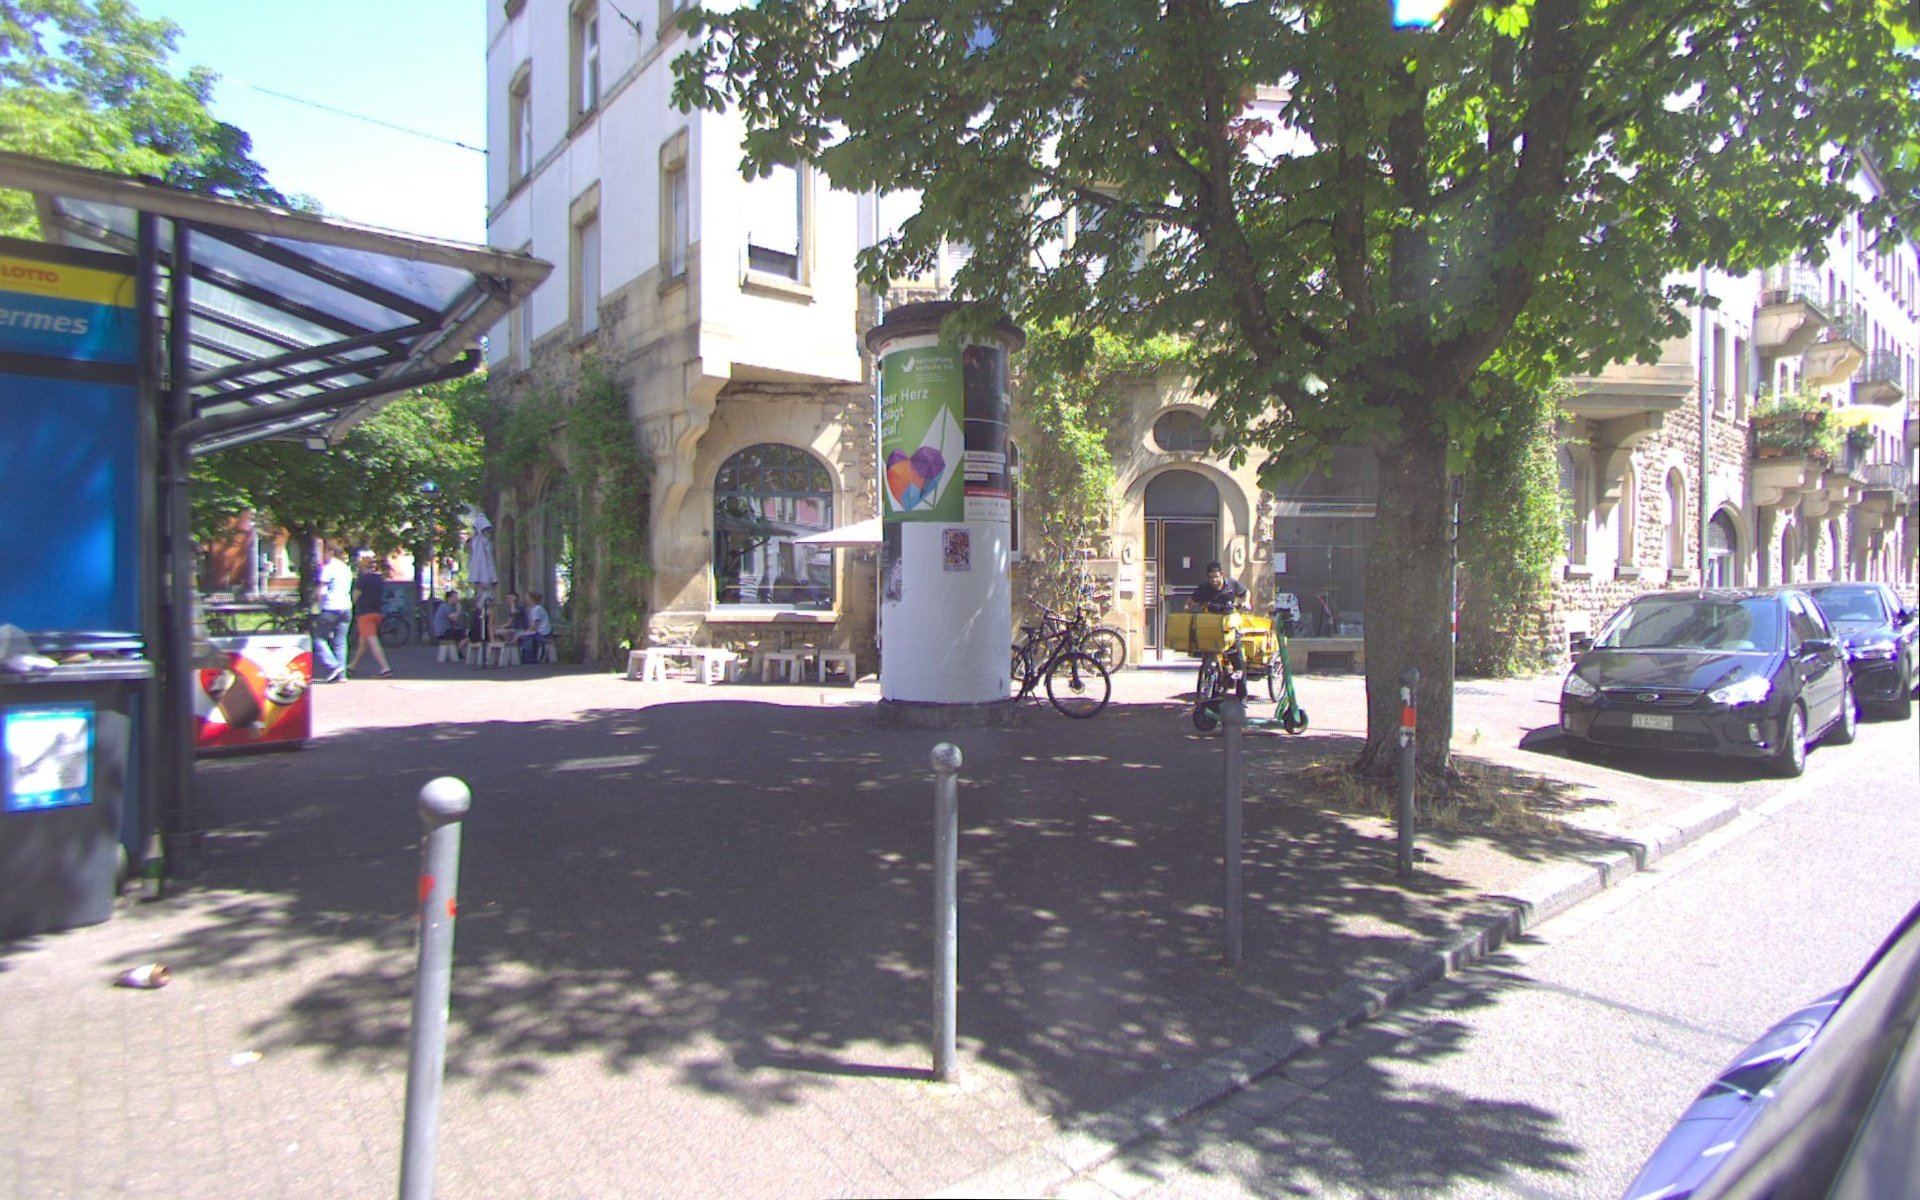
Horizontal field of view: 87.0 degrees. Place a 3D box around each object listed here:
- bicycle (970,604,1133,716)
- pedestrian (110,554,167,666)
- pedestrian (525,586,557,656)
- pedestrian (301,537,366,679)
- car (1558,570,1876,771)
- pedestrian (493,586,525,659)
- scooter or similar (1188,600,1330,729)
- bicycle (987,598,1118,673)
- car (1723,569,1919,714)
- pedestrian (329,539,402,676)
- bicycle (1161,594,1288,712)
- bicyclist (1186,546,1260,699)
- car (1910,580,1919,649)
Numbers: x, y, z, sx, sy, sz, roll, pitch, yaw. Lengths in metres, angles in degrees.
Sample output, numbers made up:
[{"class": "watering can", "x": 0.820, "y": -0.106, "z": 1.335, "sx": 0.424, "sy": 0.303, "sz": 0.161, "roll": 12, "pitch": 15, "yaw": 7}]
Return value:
[{"class": "bicycle", "x": 0.953, "y": 0.602, "z": 11.034, "sx": 0.622, "sy": 1.052, "sz": 1.905, "roll": -1, "pitch": 2, "yaw": -38}, {"class": "pedestrian", "x": -13.842, "y": 0.153, "z": 17.057, "sx": 0.584, "sy": 1.835, "sz": 0.598, "roll": 0, "pitch": 1, "yaw": 35}, {"class": "pedestrian", "x": -7.277, "y": 0.355, "z": 17.569, "sx": 0.406, "sy": 1.197, "sz": 0.444, "roll": -1, "pitch": 1, "yaw": -38}, {"class": "pedestrian", "x": -8.583, "y": 0.102, "z": 13.864, "sx": 0.648, "sy": 1.892, "sz": 0.514, "roll": 0, "pitch": 1, "yaw": 31}, {"class": "car", "x": 7.480, "y": 0.536, "z": 9.845, "sx": 4.106, "sy": 1.560, "sz": 1.665, "roll": -1, "pitch": -1, "yaw": -42}, {"class": "pedestrian", "x": -7.654, "y": 0.374, "z": 17.175, "sx": 0.406, "sy": 1.197, "sz": 0.444, "roll": -1, "pitch": 1, "yaw": -38}, {"class": "scooter or similar", "x": 2.752, "y": 0.581, "z": 9.372, "sx": 1.162, "sy": 1.150, "sz": 0.444, "roll": 0, "pitch": 1, "yaw": -3}, {"class": "bicycle", "x": 1.327, "y": 0.506, "z": 14.660, "sx": 1.800, "sy": 1.052, "sz": 0.550, "roll": 0, "pitch": 1, "yaw": -6}, {"class": "car", "x": 11.642, "y": 0.452, "z": 13.324, "sx": 4.273, "sy": 1.617, "sz": 1.738, "roll": -1, "pitch": -1, "yaw": -42}, {"class": "pedestrian", "x": -8.592, "y": 0.096, "z": 14.629, "sx": 0.877, "sy": 1.903, "sz": 0.594, "roll": 0, "pitch": 1, "yaw": 35}, {"class": "bicycle", "x": 3.163, "y": 0.548, "z": 11.900, "sx": 0.790, "sy": 1.183, "sz": 2.551, "roll": 1, "pitch": 2, "yaw": 30}, {"class": "bicyclist", "x": 2.984, "y": 0.232, "z": 11.470, "sx": 0.673, "sy": 1.668, "sz": 0.655, "roll": 1, "pitch": 1, "yaw": 28}, {"class": "car", "x": 24.564, "y": 0.295, "z": 24.471, "sx": 4.525, "sy": 1.587, "sz": 1.836, "roll": -1, "pitch": -1, "yaw": -41}]
